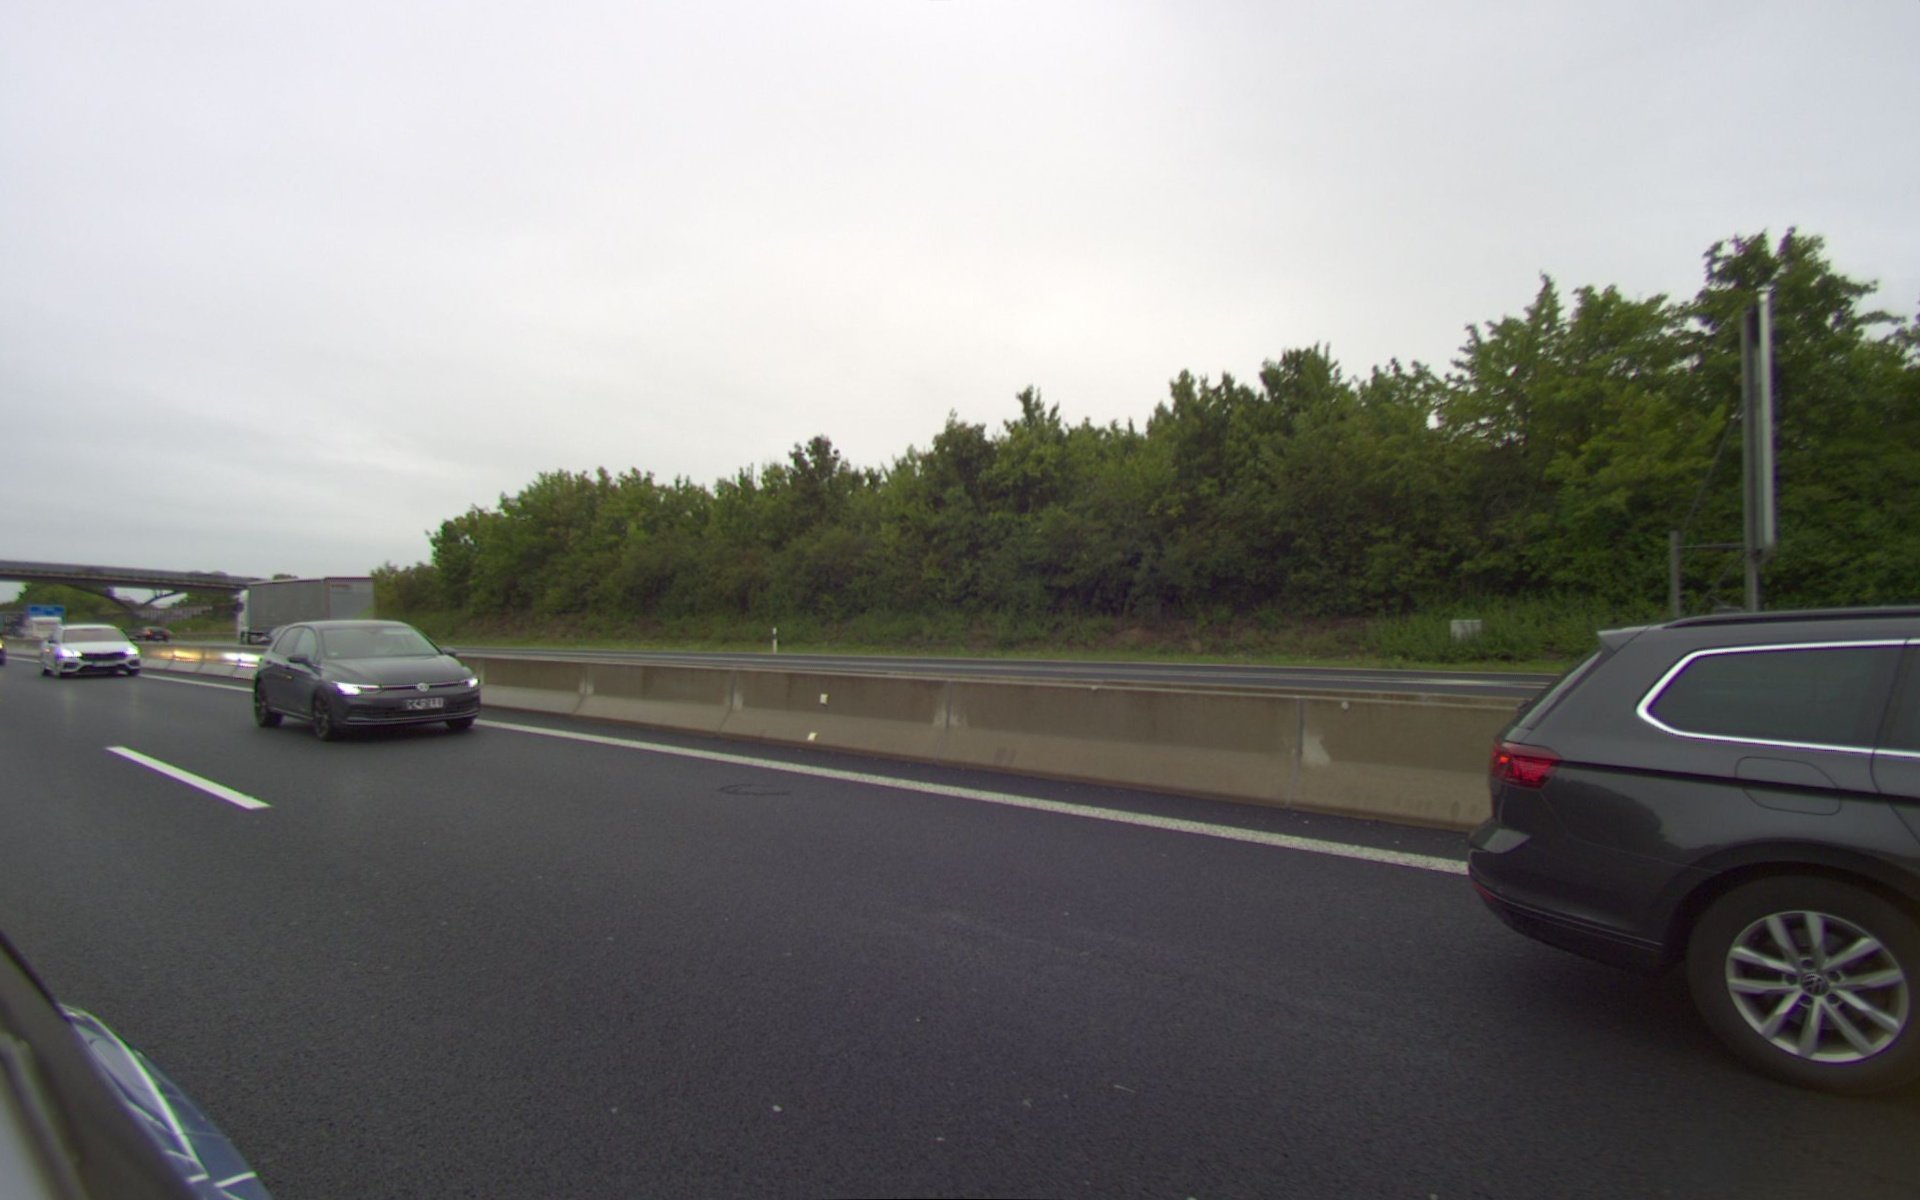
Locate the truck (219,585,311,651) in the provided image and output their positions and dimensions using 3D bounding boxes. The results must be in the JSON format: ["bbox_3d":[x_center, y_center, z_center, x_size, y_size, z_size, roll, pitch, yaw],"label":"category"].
[{"bbox_3d":[-45.818,1.219,66.668,7.436,4.114,3.226,-2,-2,41],"label":"truck"}]

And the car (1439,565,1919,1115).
[{"bbox_3d":[4.143,0.641,2.703,4.849,1.508,1.880,-2,-2,41],"label":"car"}]

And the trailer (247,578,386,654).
[{"bbox_3d":[-38.649,1.014,60.453,13.837,4.114,3.226,-2,-2,41],"label":"trailer"}]

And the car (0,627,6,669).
[{"bbox_3d":[-36.913,1.788,37.543,4.112,1.518,1.880,-2,-2,42],"label":"car"}]

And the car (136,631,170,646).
[{"bbox_3d":[-73.798,3.482,92.517,3.920,1.304,1.671,-2,-2,40],"label":"car"}]

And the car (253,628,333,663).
[{"bbox_3d":[-29.035,1.935,44.021,4.378,1.416,1.880,-2,-2,42],"label":"car"}]

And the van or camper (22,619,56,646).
[{"bbox_3d":[-87.881,3.072,96.524,5.544,2.488,1.776,-2,-2,41],"label":"van or camper"}]

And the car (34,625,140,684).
[{"bbox_3d":[-24.677,1.486,28.573,4.115,1.518,1.879,-2,-2,44],"label":"car"}]

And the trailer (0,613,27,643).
[{"bbox_3d":[-136.638,4.065,144.831,13.513,4.114,2.761,-2,-2,40],"label":"trailer"}]

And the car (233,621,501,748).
[{"bbox_3d":[-8.113,1.016,13.666,4.458,1.416,1.880,-2,-2,42],"label":"car"}]
